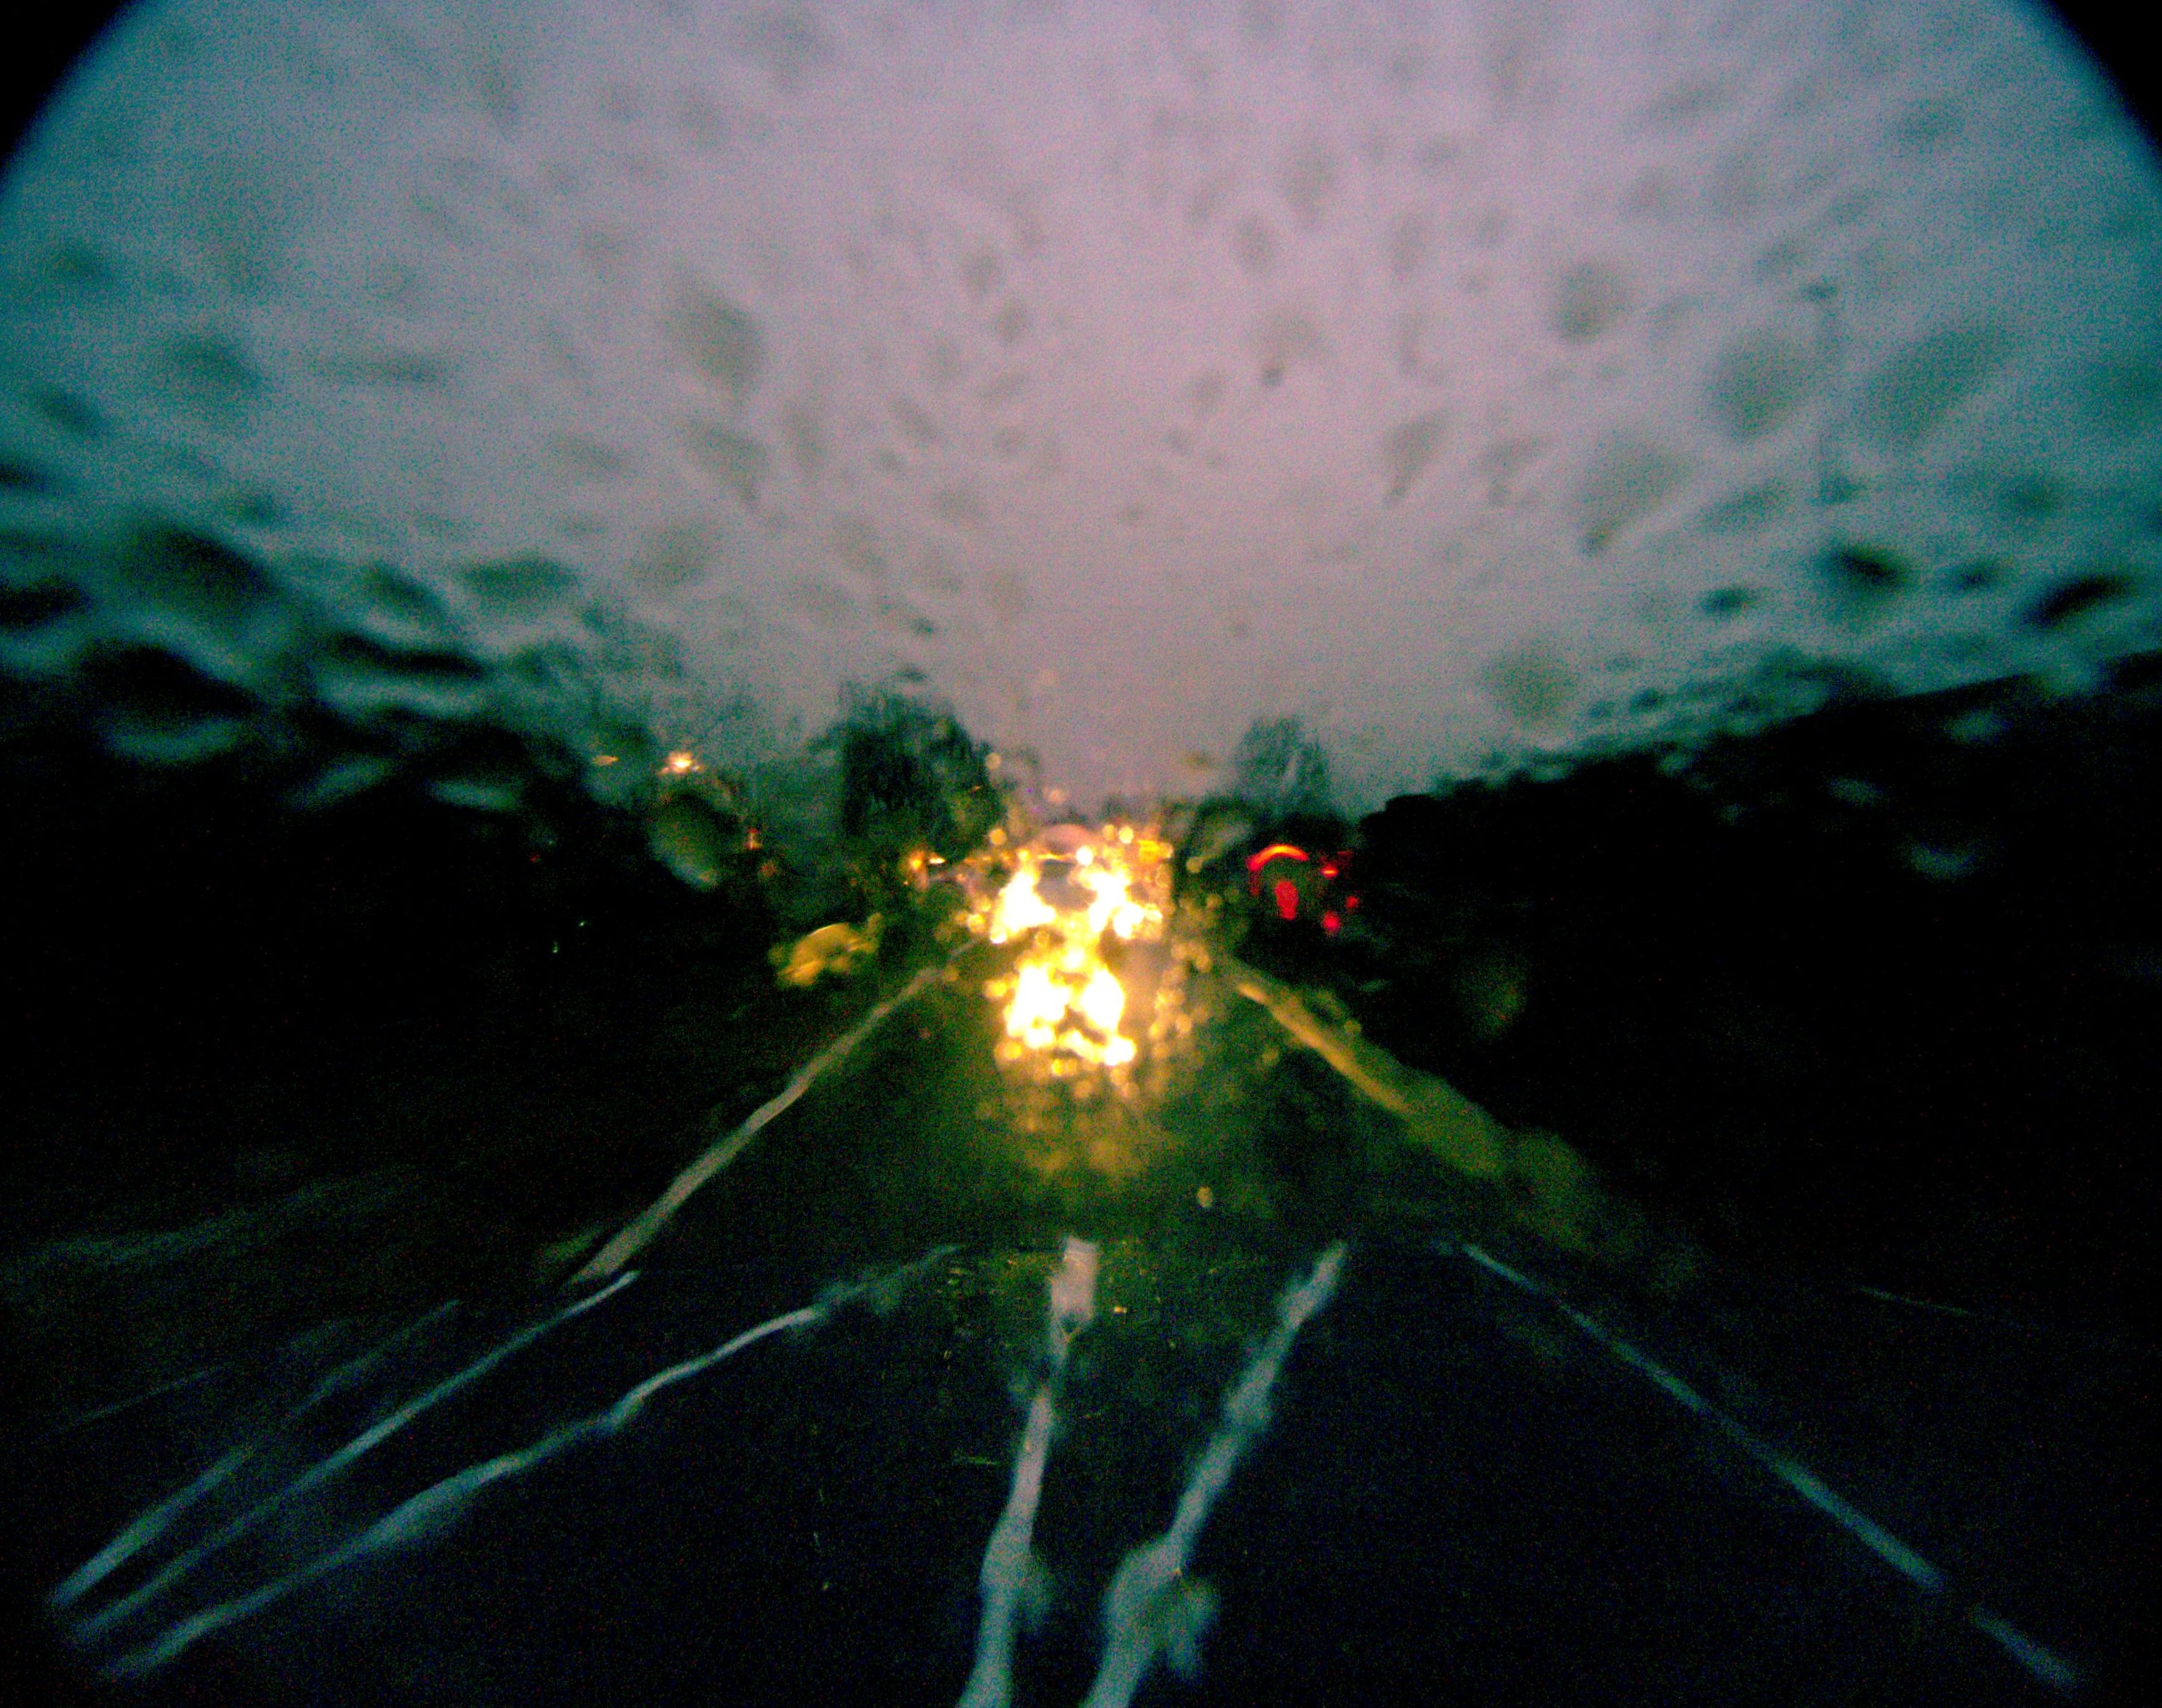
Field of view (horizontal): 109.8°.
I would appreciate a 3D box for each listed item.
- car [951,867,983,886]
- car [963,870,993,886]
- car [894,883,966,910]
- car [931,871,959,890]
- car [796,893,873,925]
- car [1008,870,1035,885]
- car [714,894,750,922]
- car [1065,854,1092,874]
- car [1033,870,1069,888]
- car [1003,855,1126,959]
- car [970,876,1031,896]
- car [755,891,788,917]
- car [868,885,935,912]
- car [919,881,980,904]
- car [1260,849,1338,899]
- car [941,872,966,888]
[{"bbox_3d":[-11.014,2.189,73.156,1.828,1.629,4.462,-2,-1,-25],"label":"car"},{"bbox_3d":[-11.114,2.593,81.948,1.804,1.586,3.971,-2,0,-29],"label":"car"},{"bbox_3d":[-10.402,2.884,52.324,4.591,1.447,1.928,-3,1,-18],"label":"car"},{"bbox_3d":[-12.512,2.366,69.720,1.807,1.526,4.536,-3,0,-20],"label":"car"},{"bbox_3d":[-13.899,3.078,42.821,4.004,1.431,1.794,-2,1,-21],"label":"car"},{"bbox_3d":[-6.575,2.505,83.215,1.722,1.508,3.251,-3,1,-27],"label":"car"},{"bbox_3d":[-22.057,3.378,48.126,1.570,1.421,3.755,-2,0,-17],"label":"car"},{"bbox_3d":[-0.368,1.209,95.412,2.282,2.426,5.233,-2,1,-13],"label":"car"},{"bbox_3d":[-2.793,2.307,70.902,1.769,1.421,3.817,-1,1,24],"label":"car"},{"bbox_3d":[-0.183,0.826,13.856,1.809,1.452,4.246,-4,0,2],"label":"car"},{"bbox_3d":[-6.589,2.612,62.060,4.707,1.389,1.902,-2,1,-15],"label":"car"},{"bbox_3d":[-20.902,3.343,51.423,1.747,1.417,4.309,-2,0,-19],"label":"car"},{"bbox_3d":[-11.595,2.849,49.057,4.004,1.412,1.628,-2,1,-21],"label":"car"},{"bbox_3d":[-9.627,2.772,55.635,4.183,1.389,1.901,-2,1,-17],"label":"car"},{"bbox_3d":[6.995,0.592,24.700,1.611,1.461,3.686,-2,0,3],"label":"car"},{"bbox_3d":[-13.116,2.645,78.171,1.729,1.493,4.019,-2,0,-21],"label":"car"}]
